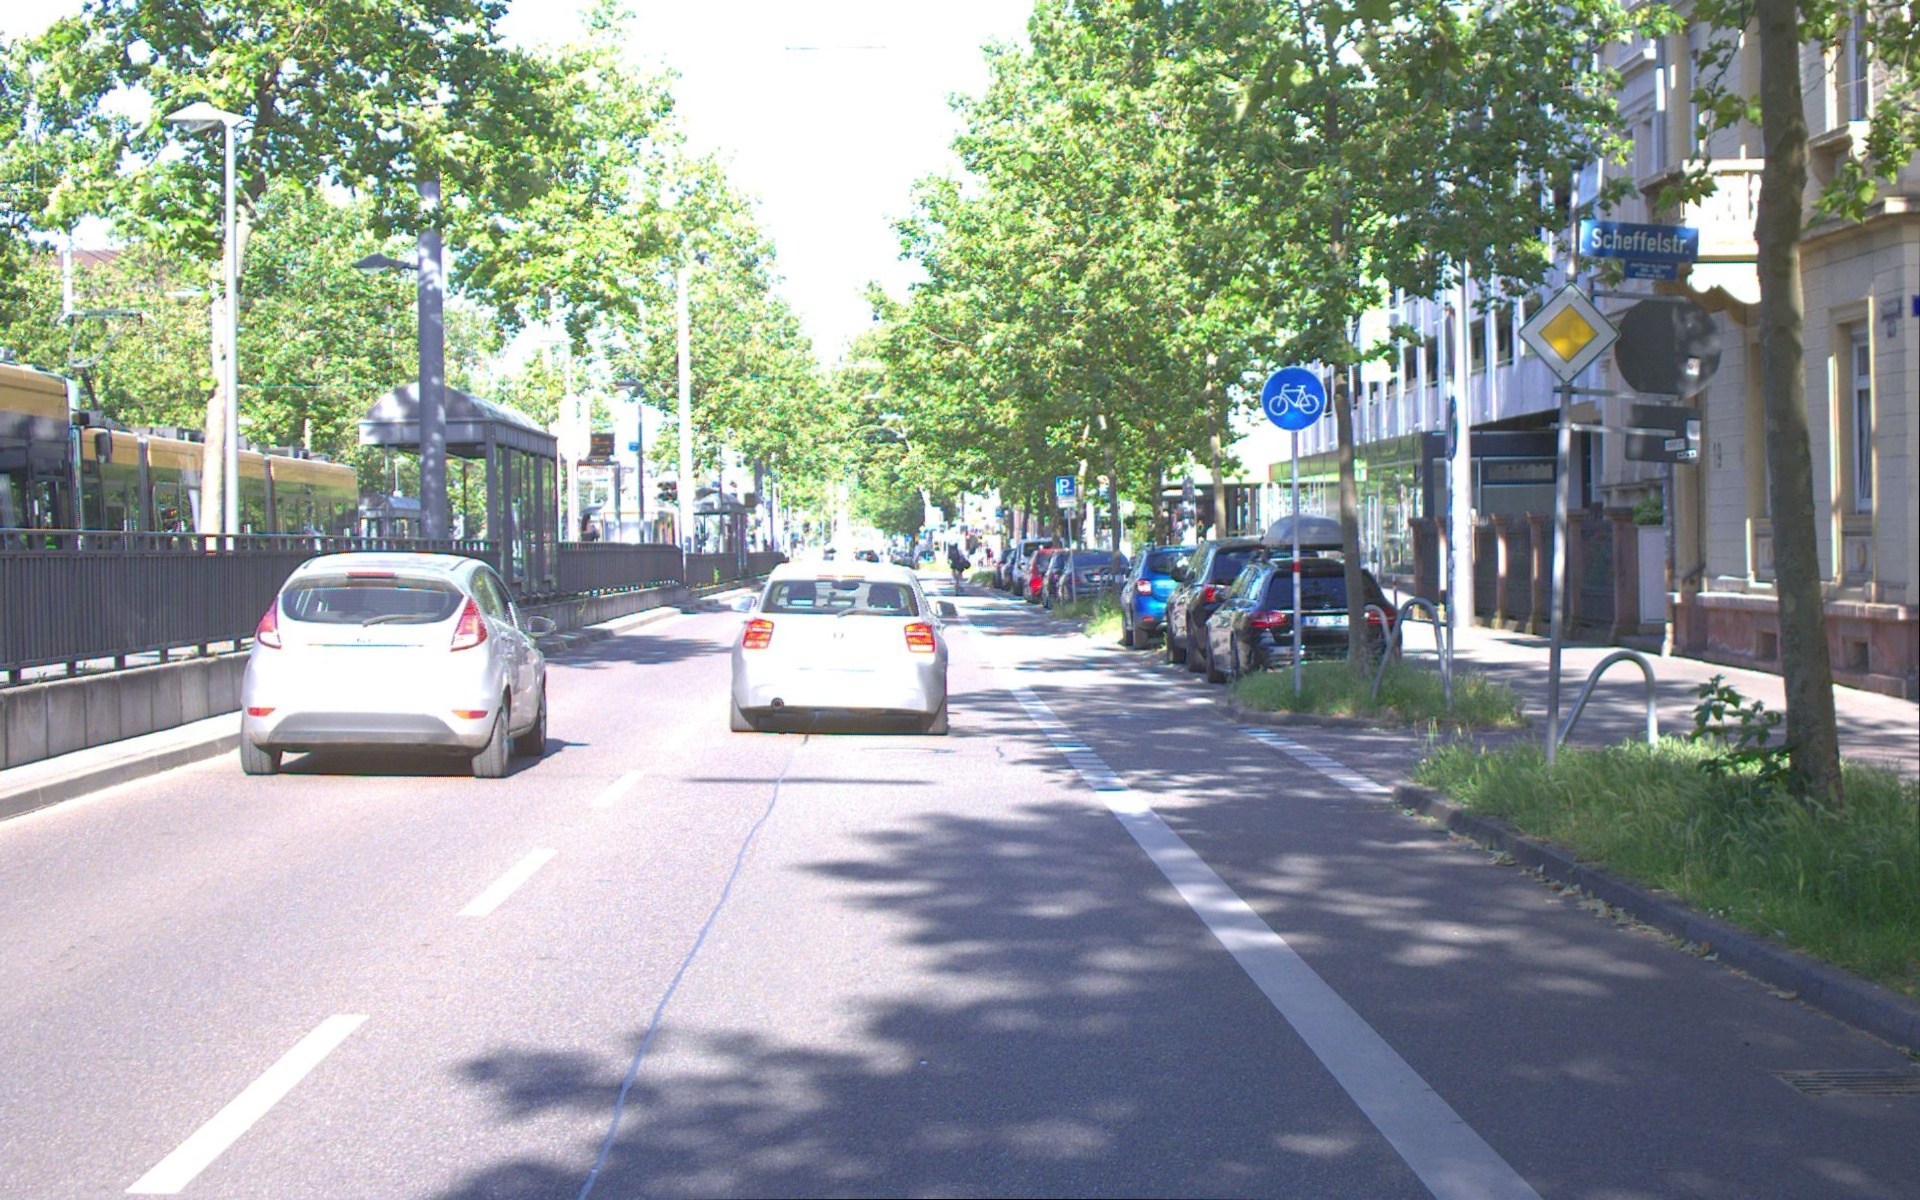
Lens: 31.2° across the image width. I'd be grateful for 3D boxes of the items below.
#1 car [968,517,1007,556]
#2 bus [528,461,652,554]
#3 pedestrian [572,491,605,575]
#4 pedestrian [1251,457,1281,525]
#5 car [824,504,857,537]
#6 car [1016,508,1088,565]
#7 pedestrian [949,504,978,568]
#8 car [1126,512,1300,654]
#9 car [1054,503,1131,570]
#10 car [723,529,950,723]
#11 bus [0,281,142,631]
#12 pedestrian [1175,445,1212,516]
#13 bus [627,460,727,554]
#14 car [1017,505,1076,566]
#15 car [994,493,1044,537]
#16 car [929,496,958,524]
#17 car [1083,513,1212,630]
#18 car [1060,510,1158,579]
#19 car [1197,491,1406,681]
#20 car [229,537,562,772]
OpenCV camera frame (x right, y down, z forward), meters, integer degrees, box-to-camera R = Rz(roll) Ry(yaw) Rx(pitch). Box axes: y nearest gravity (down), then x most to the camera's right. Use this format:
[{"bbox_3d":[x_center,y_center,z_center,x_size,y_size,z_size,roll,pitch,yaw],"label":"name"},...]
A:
[{"bbox_3d":[1.456,-3.423,184.953,1.993,2.006,4.001,1,2,-1],"label":"car"},{"bbox_3d":[-15.597,-4.037,146.850,2.869,3.616,24.606,0,2,-1],"label":"bus"},{"bbox_3d":[-8.724,-1.569,80.760,0.639,1.947,0.814,1,2,-1],"label":"pedestrian"},{"bbox_3d":[9.089,-3.231,102.105,0.788,2.007,0.891,0,1,0],"label":"pedestrian"},{"bbox_3d":[-7.644,-5.119,219.952,1.993,2.006,4.001,1,2,-1],"label":"car"},{"bbox_3d":[2.509,-1.751,94.849,1.806,1.515,4.000,1,1,-1],"label":"car"},{"bbox_3d":[0.110,-2.056,109.448,0.838,2.006,0.648,2,2,6],"label":"pedestrian"},{"bbox_3d":[3.195,-0.262,44.171,1.798,1.694,4.738,-1,2,-1],"label":"car"},{"bbox_3d":[3.259,-1.589,85.047,1.669,1.546,4.001,1,2,-1],"label":"car"},{"bbox_3d":[-1.034,0.168,29.236,1.762,1.427,4.001,1,2,-2],"label":"car"},{"bbox_3d":[-10.835,-1.406,33.828,2.869,3.432,11.612,-1,2,-1],"label":"bus"},{"bbox_3d":[6.618,-3.381,97.500,0.963,2.007,0.939,0,1,0],"label":"pedestrian"},{"bbox_3d":[-11.562,-3.898,141.909,2.750,3.613,18.850,0,2,-1],"label":"bus"},{"bbox_3d":[2.769,-2.085,110.589,1.724,1.874,4.000,1,1,-1],"label":"car"},{"bbox_3d":[2.173,-3.140,126.767,1.700,1.529,3.717,1,2,-1],"label":"car"},{"bbox_3d":[-1.178,-6.397,244.111,1.993,2.006,4.000,-1,2,-1],"label":"car"},{"bbox_3d":[2.874,-0.475,53.363,1.692,1.652,4.040,-1,2,-1],"label":"car"},{"bbox_3d":[3.409,-1.288,79.613,1.993,1.504,4.598,1,1,-1],"label":"car"},{"bbox_3d":[3.721,-0.224,38.164,1.754,1.958,4.738,0,2,-1],"label":"car"},{"bbox_3d":[-3.730,0.306,23.275,1.646,1.358,3.760,1,2,0],"label":"car"}]
